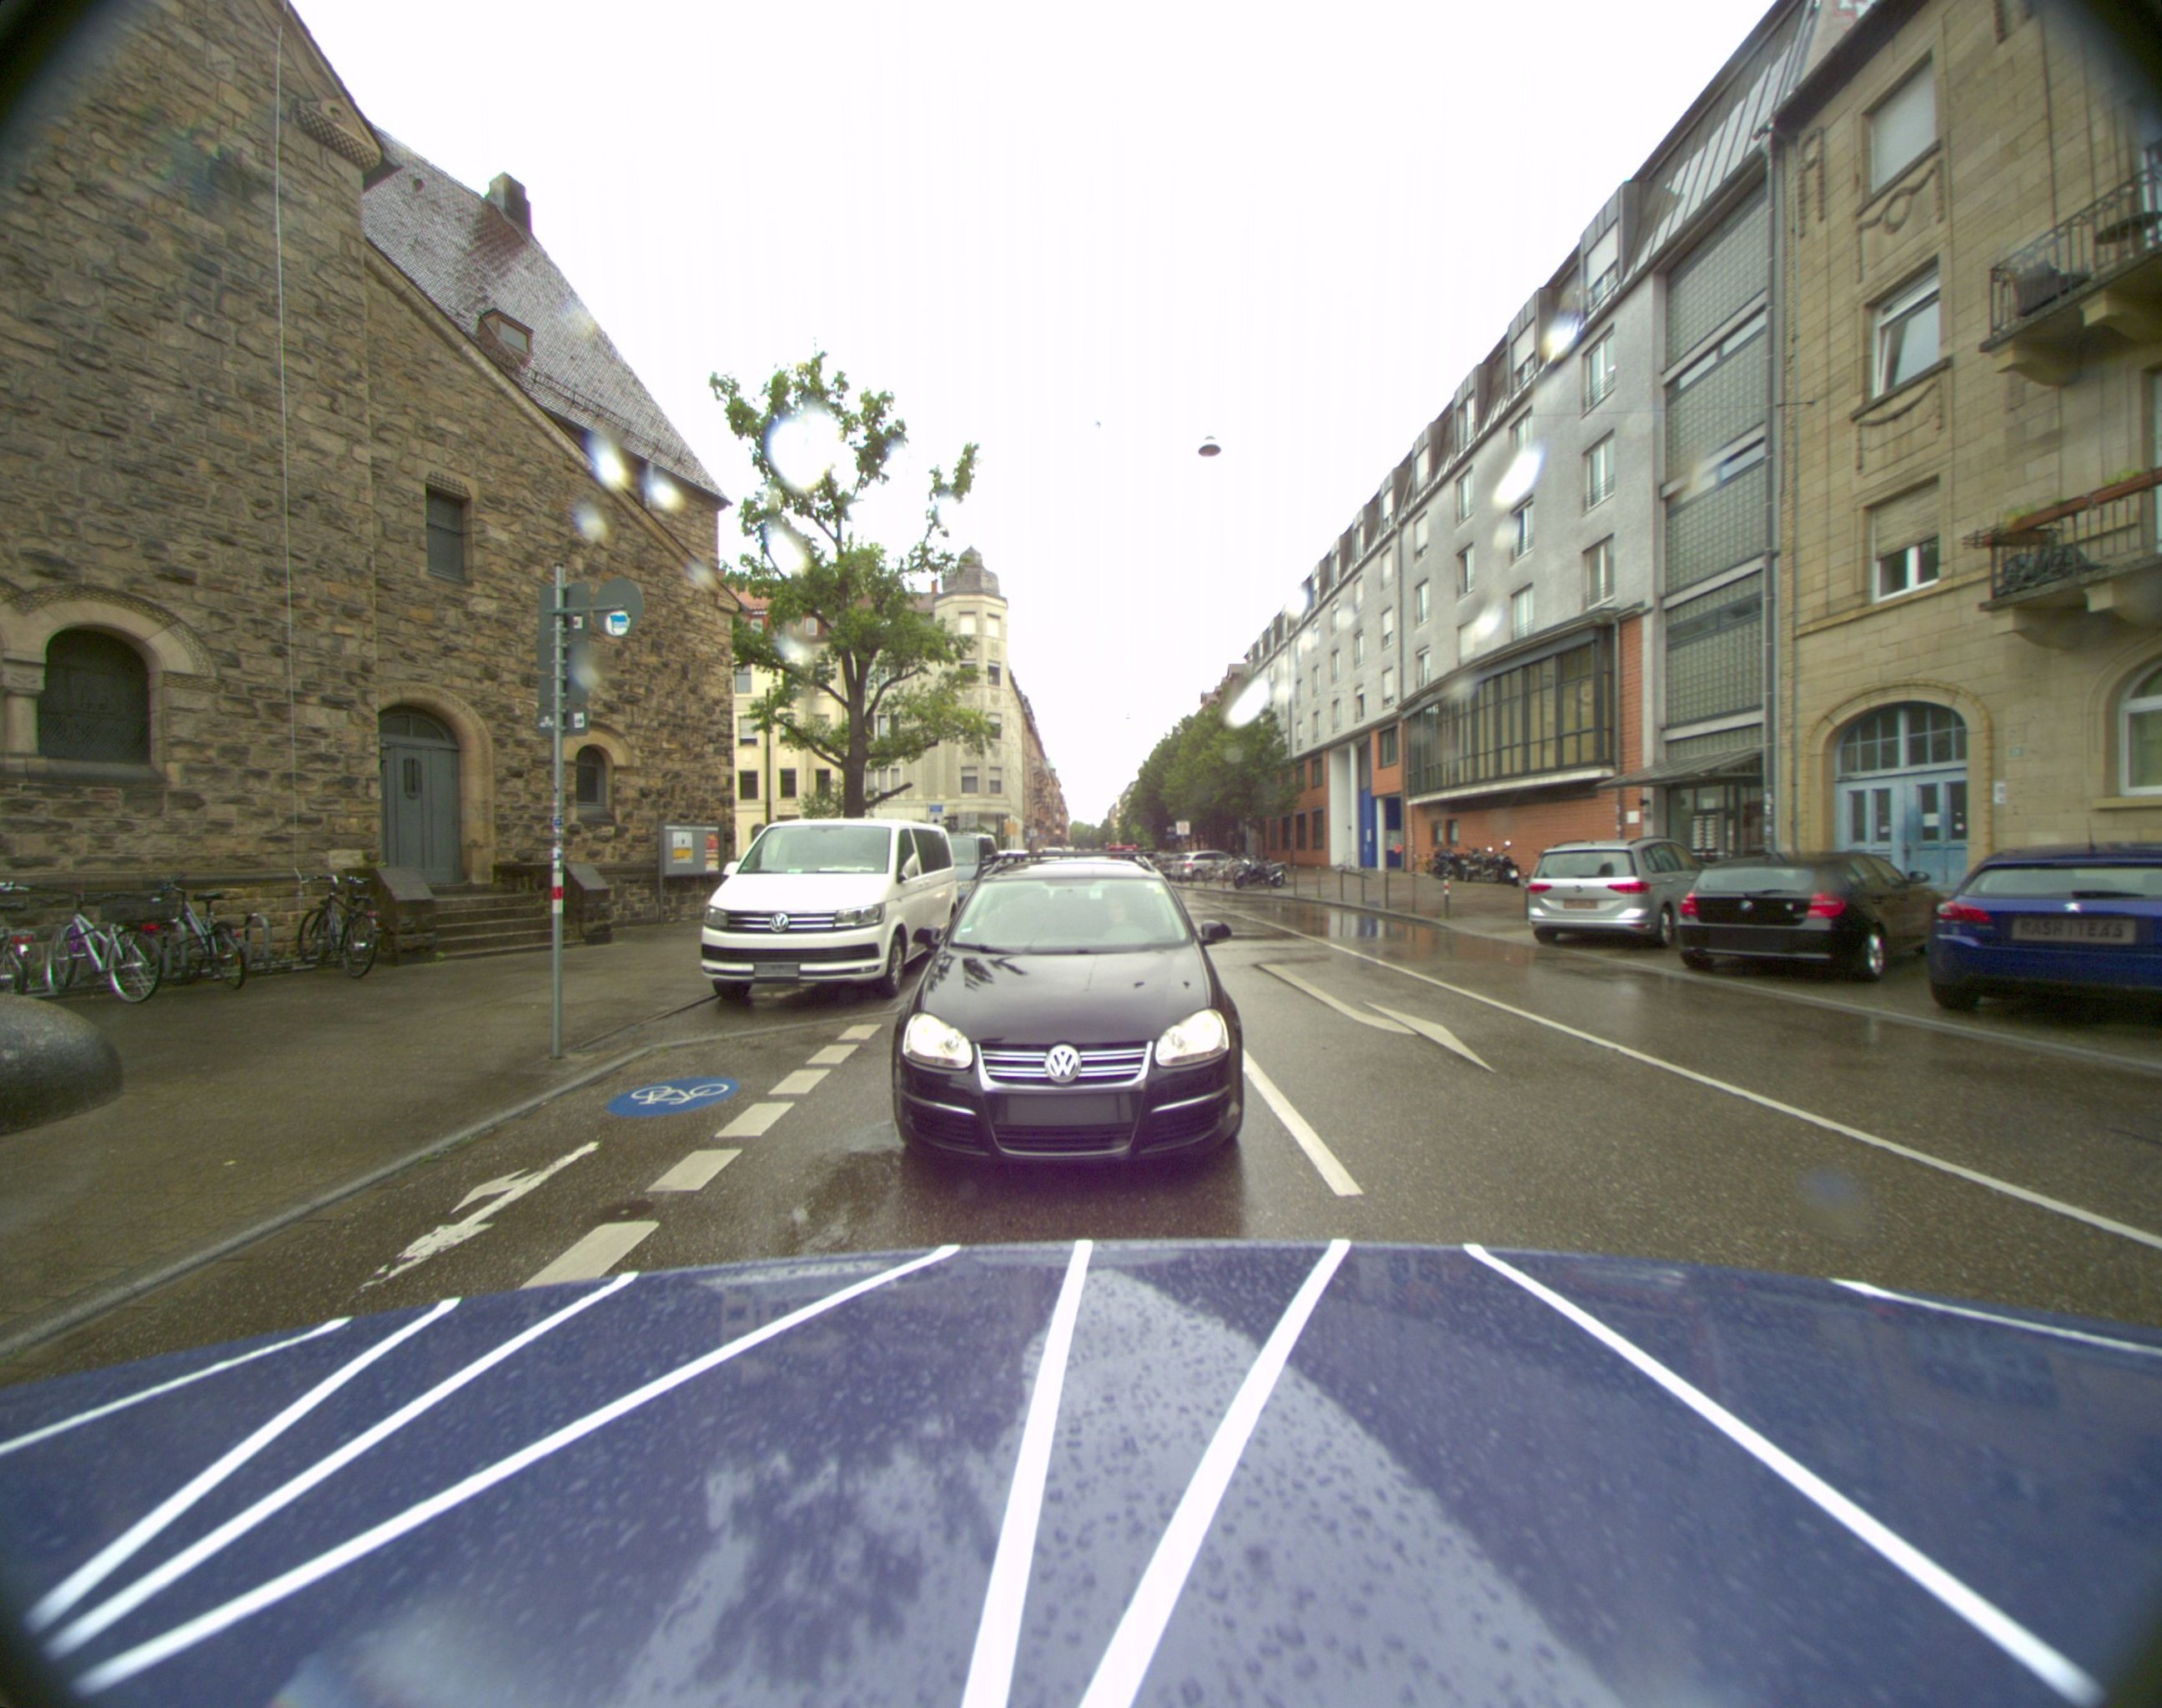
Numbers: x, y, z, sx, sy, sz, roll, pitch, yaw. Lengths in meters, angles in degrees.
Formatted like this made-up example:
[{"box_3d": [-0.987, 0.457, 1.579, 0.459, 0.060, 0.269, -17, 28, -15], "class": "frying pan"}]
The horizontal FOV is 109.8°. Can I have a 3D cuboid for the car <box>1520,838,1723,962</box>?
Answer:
[{"box_3d": [8.981, 0.627, 12.513, 3.931, 1.720, 1.811, -1, 1, -41], "class": "car"}]

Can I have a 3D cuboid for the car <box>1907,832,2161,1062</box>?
[{"box_3d": [9.346, 0.653, 6.795, 3.732, 1.519, 1.897, -4, 3, -30], "class": "car"}]

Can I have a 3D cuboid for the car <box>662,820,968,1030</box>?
[{"box_3d": [-2.809, 0.628, 9.540, 1.909, 1.911, 5.272, 0, 0, 1], "class": "car"}]

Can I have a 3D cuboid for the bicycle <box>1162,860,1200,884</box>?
[{"box_3d": [4.764, 0.855, 36.174, 1.688, 1.067, 0.544, 2, 1, -3], "class": "bicycle"}]

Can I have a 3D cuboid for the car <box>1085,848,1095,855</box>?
[{"box_3d": [2.121, -0.600, 175.556, 1.998, 1.705, 4.376, 0, 1, 5], "class": "car"}]

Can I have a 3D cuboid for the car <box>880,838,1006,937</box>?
[{"box_3d": [-2.771, 0.607, 16.234, 1.837, 1.835, 4.295, 0, 1, 1], "class": "car"}]

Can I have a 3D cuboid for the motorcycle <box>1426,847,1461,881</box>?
[{"box_3d": [13.555, 0.360, 28.465, 0.546, 1.221, 1.676, 0, 1, 1], "class": "motorcycle"}]

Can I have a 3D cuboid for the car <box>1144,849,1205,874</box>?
[{"box_3d": [6.481, 0.495, 52.996, 3.803, 1.705, 1.998, 0, 1, -10], "class": "car"}]

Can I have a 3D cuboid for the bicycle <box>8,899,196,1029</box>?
[{"box_3d": [-9.311, 0.990, 7.217, 1.923, 1.054, 0.582, 0, 1, 22], "class": "bicycle"}]

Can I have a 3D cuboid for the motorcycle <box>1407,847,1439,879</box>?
[{"box_3d": [13.585, 0.332, 30.230, 0.546, 1.221, 1.676, 0, 1, 1], "class": "motorcycle"}]

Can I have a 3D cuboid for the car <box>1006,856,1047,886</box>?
[{"box_3d": [-2.488, 0.770, 35.261, 1.558, 1.285, 3.662, 0, 0, 1], "class": "car"}]

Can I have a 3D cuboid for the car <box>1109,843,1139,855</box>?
[{"box_3d": [6.185, -0.666, 108.435, 3.809, 1.705, 1.995, 0, 1, -33], "class": "car"}]

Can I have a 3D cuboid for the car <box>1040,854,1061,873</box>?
[{"box_3d": [-2.167, 0.660, 54.562, 1.356, 1.285, 3.013, 0, 1, 1], "class": "car"}]

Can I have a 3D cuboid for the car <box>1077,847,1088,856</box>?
[{"box_3d": [0.361, -0.543, 160.811, 1.998, 1.705, 4.376, 0, 1, 5], "class": "car"}]

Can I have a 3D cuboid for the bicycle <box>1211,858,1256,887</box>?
[{"box_3d": [6.301, 0.762, 31.453, 1.688, 1.067, 0.544, -3, 1, -2], "class": "bicycle"}]

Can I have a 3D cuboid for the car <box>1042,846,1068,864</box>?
[{"box_3d": [-2.092, 0.061, 61.654, 1.921, 1.470, 4.220, 0, 0, 1], "class": "car"}]

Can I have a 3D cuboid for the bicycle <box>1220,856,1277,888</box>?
[{"box_3d": [6.699, 0.715, 30.489, 2.049, 1.165, 0.773, -3, 1, -2], "class": "bicycle"}]

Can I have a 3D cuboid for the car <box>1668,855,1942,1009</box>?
[{"box_3d": [9.045, 0.793, 9.433, 3.734, 1.518, 1.713, 0, 1, -34], "class": "car"}]

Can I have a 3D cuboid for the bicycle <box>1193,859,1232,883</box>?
[{"box_3d": [6.088, 0.767, 35.218, 1.688, 1.067, 0.544, -1, 1, -2], "class": "bicycle"}]

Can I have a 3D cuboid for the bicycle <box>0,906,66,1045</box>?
[{"box_3d": [-9.498, 0.999, 6.450, 1.923, 1.054, 0.582, 0, 1, 22], "class": "bicycle"}]

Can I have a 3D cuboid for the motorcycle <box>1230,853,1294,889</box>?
[{"box_3d": [7.004, 0.662, 29.518, 2.255, 1.302, 0.758, -2, 1, 1], "class": "motorcycle"}]

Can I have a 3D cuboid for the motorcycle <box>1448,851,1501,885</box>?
[{"box_3d": [13.555, 0.460, 26.252, 0.599, 1.095, 2.362, 0, 1, 1], "class": "motorcycle"}]

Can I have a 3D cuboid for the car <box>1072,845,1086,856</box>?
[{"box_3d": [-0.334, -0.608, 125.296, 1.998, 1.705, 3.803, 0, 1, 5], "class": "car"}]

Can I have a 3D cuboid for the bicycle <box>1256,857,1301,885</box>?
[{"box_3d": [8.156, 0.689, 31.433, 1.688, 1.067, 0.544, -3, 1, -2], "class": "bicycle"}]

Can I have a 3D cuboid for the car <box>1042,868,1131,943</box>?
[{"box_3d": [0.119, 0.921, 14.901, 1.547, 1.214, 3.608, 0, 0, 1], "class": "car"}]

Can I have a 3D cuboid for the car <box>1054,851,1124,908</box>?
[{"box_3d": [0.219, 0.640, 21.075, 1.766, 1.430, 3.748, 0, 1, 1], "class": "car"}]

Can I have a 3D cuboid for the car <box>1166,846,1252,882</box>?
[{"box_3d": [6.651, 0.468, 39.615, 4.005, 1.804, 1.996, 0, 1, -26], "class": "car"}]

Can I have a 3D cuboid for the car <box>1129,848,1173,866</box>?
[{"box_3d": [6.597, 0.296, 72.246, 3.803, 1.705, 1.904, 0, 1, -10], "class": "car"}]

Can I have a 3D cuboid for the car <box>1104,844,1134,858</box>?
[{"box_3d": [4.904, -0.409, 98.315, 3.799, 1.705, 2.000, 0, 1, 1], "class": "car"}]

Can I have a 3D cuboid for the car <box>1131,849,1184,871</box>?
[{"box_3d": [6.020, 0.458, 60.305, 3.803, 1.705, 1.998, 0, 1, -10], "class": "car"}]

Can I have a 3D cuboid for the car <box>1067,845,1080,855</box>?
[{"box_3d": [-1.424, -0.773, 139.369, 1.998, 1.705, 3.803, 0, 1, 5], "class": "car"}]

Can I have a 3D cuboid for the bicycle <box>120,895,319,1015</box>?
[{"box_3d": [-8.920, 0.987, 7.853, 2.150, 1.054, 0.679, 0, 1, 22], "class": "bicycle"}]

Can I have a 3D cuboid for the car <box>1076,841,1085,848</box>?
[{"box_3d": [-0.169, -2.304, 183.830, 1.837, 1.827, 4.001, 0, 1, 5], "class": "car"}]

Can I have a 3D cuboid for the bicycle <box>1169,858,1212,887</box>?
[{"box_3d": [4.741, 0.800, 32.973, 1.687, 1.067, 0.544, -6, 1, -2], "class": "bicycle"}]

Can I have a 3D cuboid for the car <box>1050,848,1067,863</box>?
[{"box_3d": [-1.958, 0.143, 65.767, 1.356, 1.285, 3.013, 0, 1, 1], "class": "car"}]

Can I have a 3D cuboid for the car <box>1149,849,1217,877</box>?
[{"box_3d": [6.311, 0.541, 47.409, 3.803, 1.705, 1.998, 0, 1, -10], "class": "car"}]

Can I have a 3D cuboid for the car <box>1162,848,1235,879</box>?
[{"box_3d": [6.810, 0.534, 44.331, 3.803, 1.705, 1.998, 0, 1, -10], "class": "car"}]

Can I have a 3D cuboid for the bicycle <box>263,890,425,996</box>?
[{"box_3d": [-8.502, 0.982, 8.757, 1.978, 1.060, 0.607, 0, 1, 23], "class": "bicycle"}]

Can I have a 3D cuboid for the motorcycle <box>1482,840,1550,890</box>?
[{"box_3d": [13.465, 0.321, 23.623, 0.777, 1.454, 2.362, 0, 1, 1], "class": "motorcycle"}]

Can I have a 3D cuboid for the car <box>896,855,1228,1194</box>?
[{"box_3d": [-0.060, 0.801, 5.582, 1.547, 1.553, 4.070, 0, 1, 1], "class": "car"}]

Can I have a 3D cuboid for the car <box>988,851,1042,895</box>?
[{"box_3d": [-2.464, 0.684, 29.232, 1.674, 1.540, 3.918, 0, 1, 1], "class": "car"}]

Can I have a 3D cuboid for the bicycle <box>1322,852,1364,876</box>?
[{"box_3d": [13.481, 0.501, 39.075, 1.901, 1.217, 0.938, 0, 1, 26], "class": "bicycle"}]

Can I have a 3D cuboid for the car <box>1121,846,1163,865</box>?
[{"box_3d": [6.507, 0.147, 80.680, 4.006, 2.002, 1.995, 0, 1, -28], "class": "car"}]

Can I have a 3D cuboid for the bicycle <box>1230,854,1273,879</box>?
[{"box_3d": [7.237, 0.533, 32.206, 1.688, 1.067, 0.544, 0, 1, -2], "class": "bicycle"}]
